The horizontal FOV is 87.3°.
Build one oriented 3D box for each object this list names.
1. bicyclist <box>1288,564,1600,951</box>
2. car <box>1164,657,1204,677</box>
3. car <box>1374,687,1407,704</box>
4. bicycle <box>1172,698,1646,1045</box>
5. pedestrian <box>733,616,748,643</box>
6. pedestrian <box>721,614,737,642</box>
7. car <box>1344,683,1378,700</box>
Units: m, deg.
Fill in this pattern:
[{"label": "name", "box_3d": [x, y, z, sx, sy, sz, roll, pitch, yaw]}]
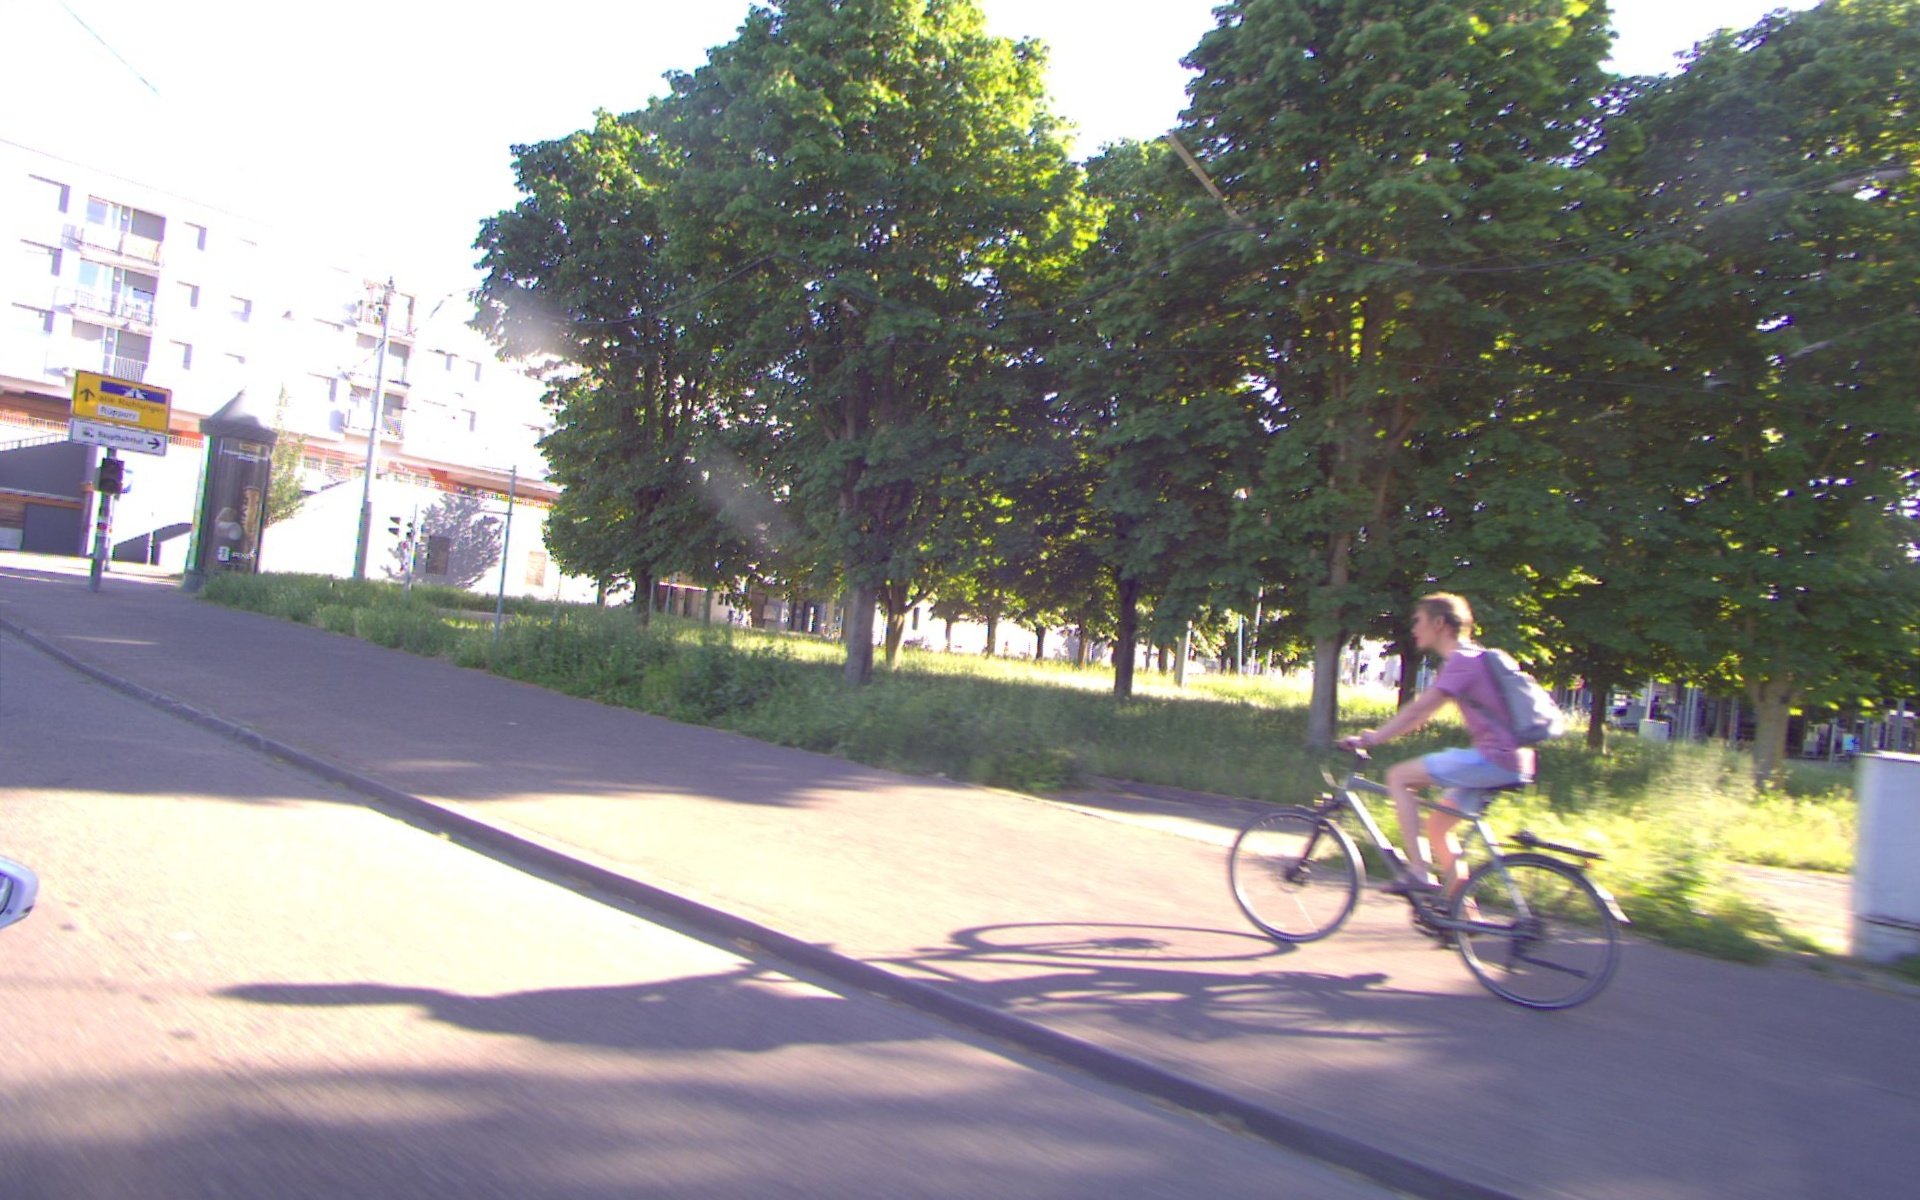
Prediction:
[{"label": "bicyclist", "box_3d": [2.380, 0.693, 4.955, 1.132, 1.618, 0.811, 4, -2, 38]}, {"label": "car", "box_3d": [24.693, 7.372, 110.793, 3.960, 1.656, 1.987, 9, -6, -31]}, {"label": "car", "box_3d": [55.536, 12.314, 129.872, 3.961, 1.656, 1.987, 9, -6, -32]}, {"label": "bicycle", "box_3d": [2.167, 1.205, 5.025, 1.972, 1.206, 0.718, 4, -2, 39]}, {"label": "pedestrian", "box_3d": [-14.612, 1.967, 66.927, 0.657, 1.719, 0.595, 9, -5, -35]}, {"label": "pedestrian", "box_3d": [-15.269, 1.845, 66.402, 0.657, 1.719, 0.595, 9, -5, -35]}, {"label": "car", "box_3d": [50.651, 11.583, 126.923, 3.961, 1.656, 1.987, 9, -6, -32]}]
